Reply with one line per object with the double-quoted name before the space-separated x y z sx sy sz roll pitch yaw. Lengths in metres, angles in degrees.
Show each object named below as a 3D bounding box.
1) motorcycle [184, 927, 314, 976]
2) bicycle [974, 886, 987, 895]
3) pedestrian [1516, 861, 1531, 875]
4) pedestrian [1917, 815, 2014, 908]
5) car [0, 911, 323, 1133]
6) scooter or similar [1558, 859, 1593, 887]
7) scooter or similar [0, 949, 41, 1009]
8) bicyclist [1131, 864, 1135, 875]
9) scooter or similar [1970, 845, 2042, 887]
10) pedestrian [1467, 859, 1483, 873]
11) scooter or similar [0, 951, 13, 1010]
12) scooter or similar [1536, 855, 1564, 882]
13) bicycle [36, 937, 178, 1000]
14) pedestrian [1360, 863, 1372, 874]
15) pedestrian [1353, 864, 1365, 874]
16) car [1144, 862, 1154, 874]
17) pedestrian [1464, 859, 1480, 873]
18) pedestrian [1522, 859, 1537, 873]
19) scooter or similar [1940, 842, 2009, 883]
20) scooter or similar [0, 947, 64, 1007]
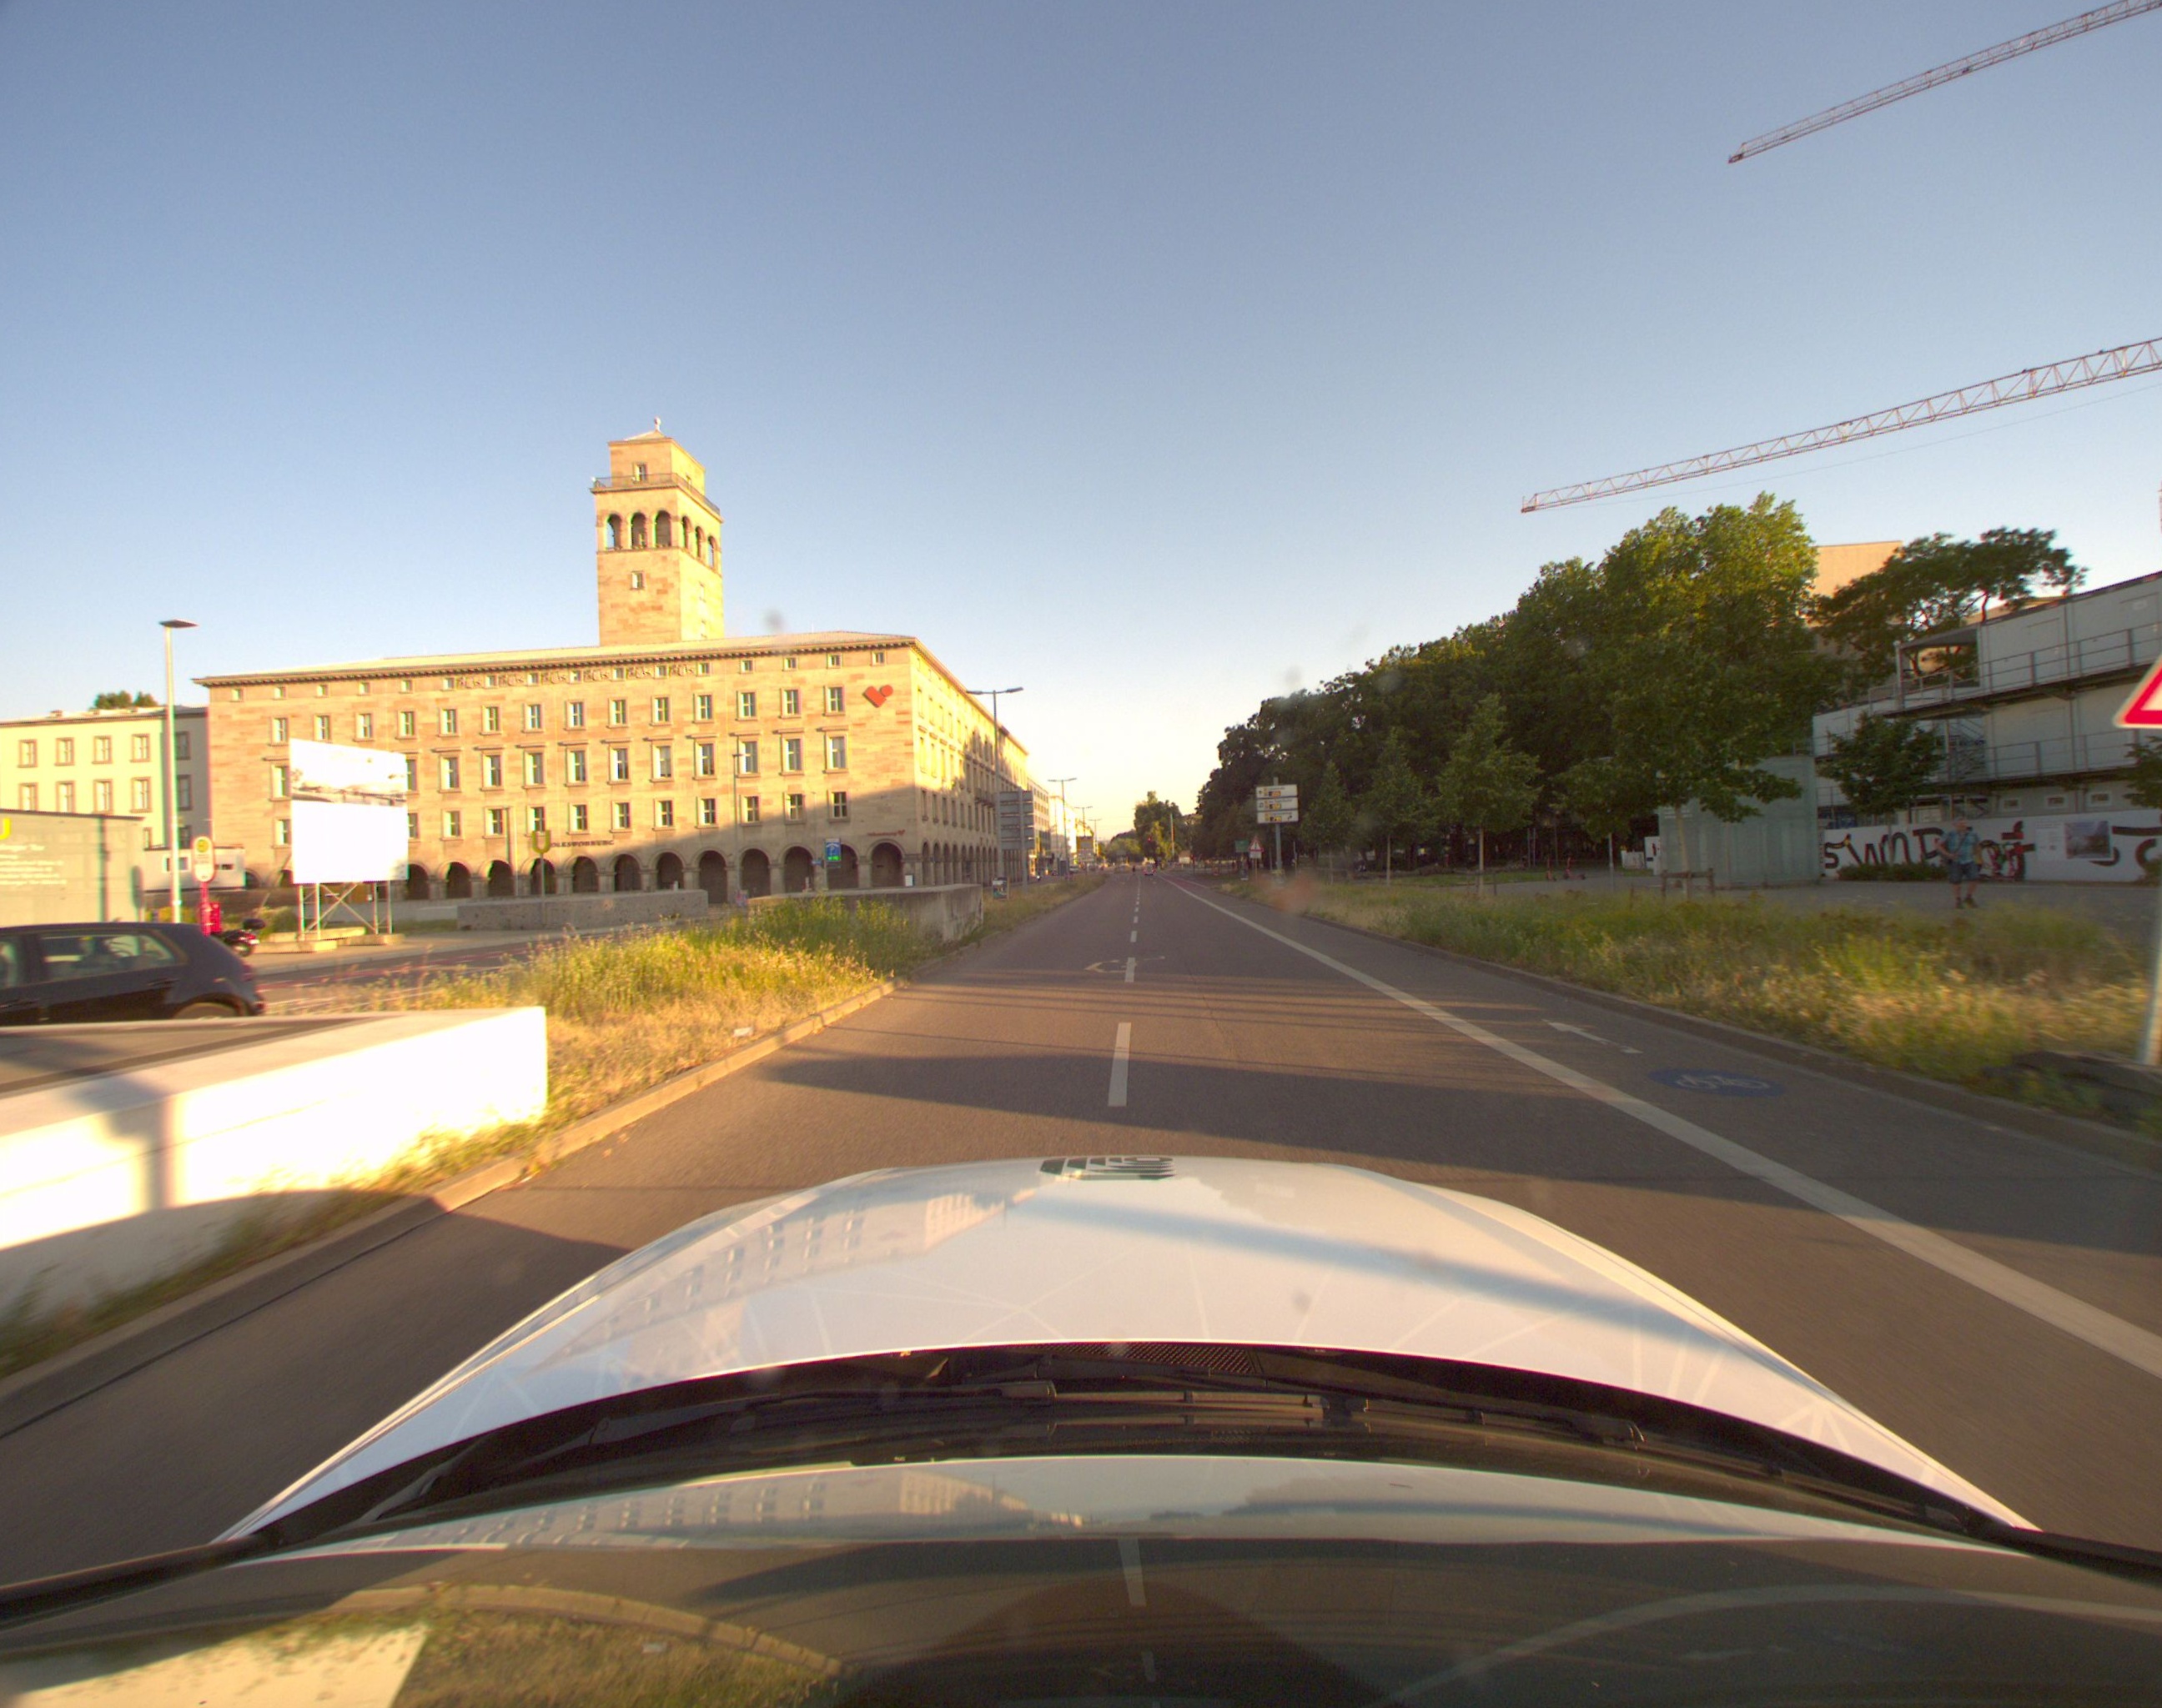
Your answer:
"motorcycle" -25.858 3.029 25.351 3.221 1.383 0.840 -1 -2 1
"bicycle" -11.160 4.059 90.637 0.473 1.005 2.016 -4 -2 22
"pedestrian" 38.107 1.211 70.073 0.784 1.164 0.766 -3 -2 -2
"pedestrian" 18.132 0.146 16.721 0.809 1.815 1.049 -3 -1 9
"car" -8.691 1.309 5.955 1.879 1.466 4.540 -3 -1 2
"scooter or similar" 22.887 0.898 37.693 0.472 1.220 1.572 -5 -1 -3
"scooter or similar" -25.254 2.914 18.799 1.826 1.305 0.423 -3 -2 -3
"bicyclist" 8.067 2.376 126.770 0.625 1.693 0.749 -3 -2 3
"scooter or similar" 27.898 0.367 24.571 1.564 1.220 0.474 -1 -2 1
"pedestrian" 38.526 1.194 79.659 1.126 1.260 0.907 -3 -2 6
"scooter or similar" -25.252 2.907 18.315 1.783 1.305 0.417 -3 -2 -3
"scooter or similar" 21.694 0.662 37.677 0.421 1.220 1.400 -5 -1 4
"bicycle" -25.313 2.938 21.249 0.615 1.324 2.510 -3 -2 2
"pedestrian" 24.157 1.247 69.130 0.681 0.884 0.619 -2 -1 -19
"pedestrian" 23.787 1.282 69.707 0.681 0.884 0.589 -2 -1 -21
"car" 10.496 2.199 125.290 1.452 1.781 2.568 -3 -1 6
"pedestrian" 38.684 1.198 80.604 1.126 1.260 0.727 -3 -2 5
"pedestrian" 38.112 1.038 69.208 0.784 1.164 0.766 -3 -2 -2
"scooter or similar" 27.853 0.279 25.393 1.564 1.220 0.474 -1 -2 1
"scooter or similar" -25.264 2.920 19.242 1.831 1.305 0.423 -3 -2 -3
